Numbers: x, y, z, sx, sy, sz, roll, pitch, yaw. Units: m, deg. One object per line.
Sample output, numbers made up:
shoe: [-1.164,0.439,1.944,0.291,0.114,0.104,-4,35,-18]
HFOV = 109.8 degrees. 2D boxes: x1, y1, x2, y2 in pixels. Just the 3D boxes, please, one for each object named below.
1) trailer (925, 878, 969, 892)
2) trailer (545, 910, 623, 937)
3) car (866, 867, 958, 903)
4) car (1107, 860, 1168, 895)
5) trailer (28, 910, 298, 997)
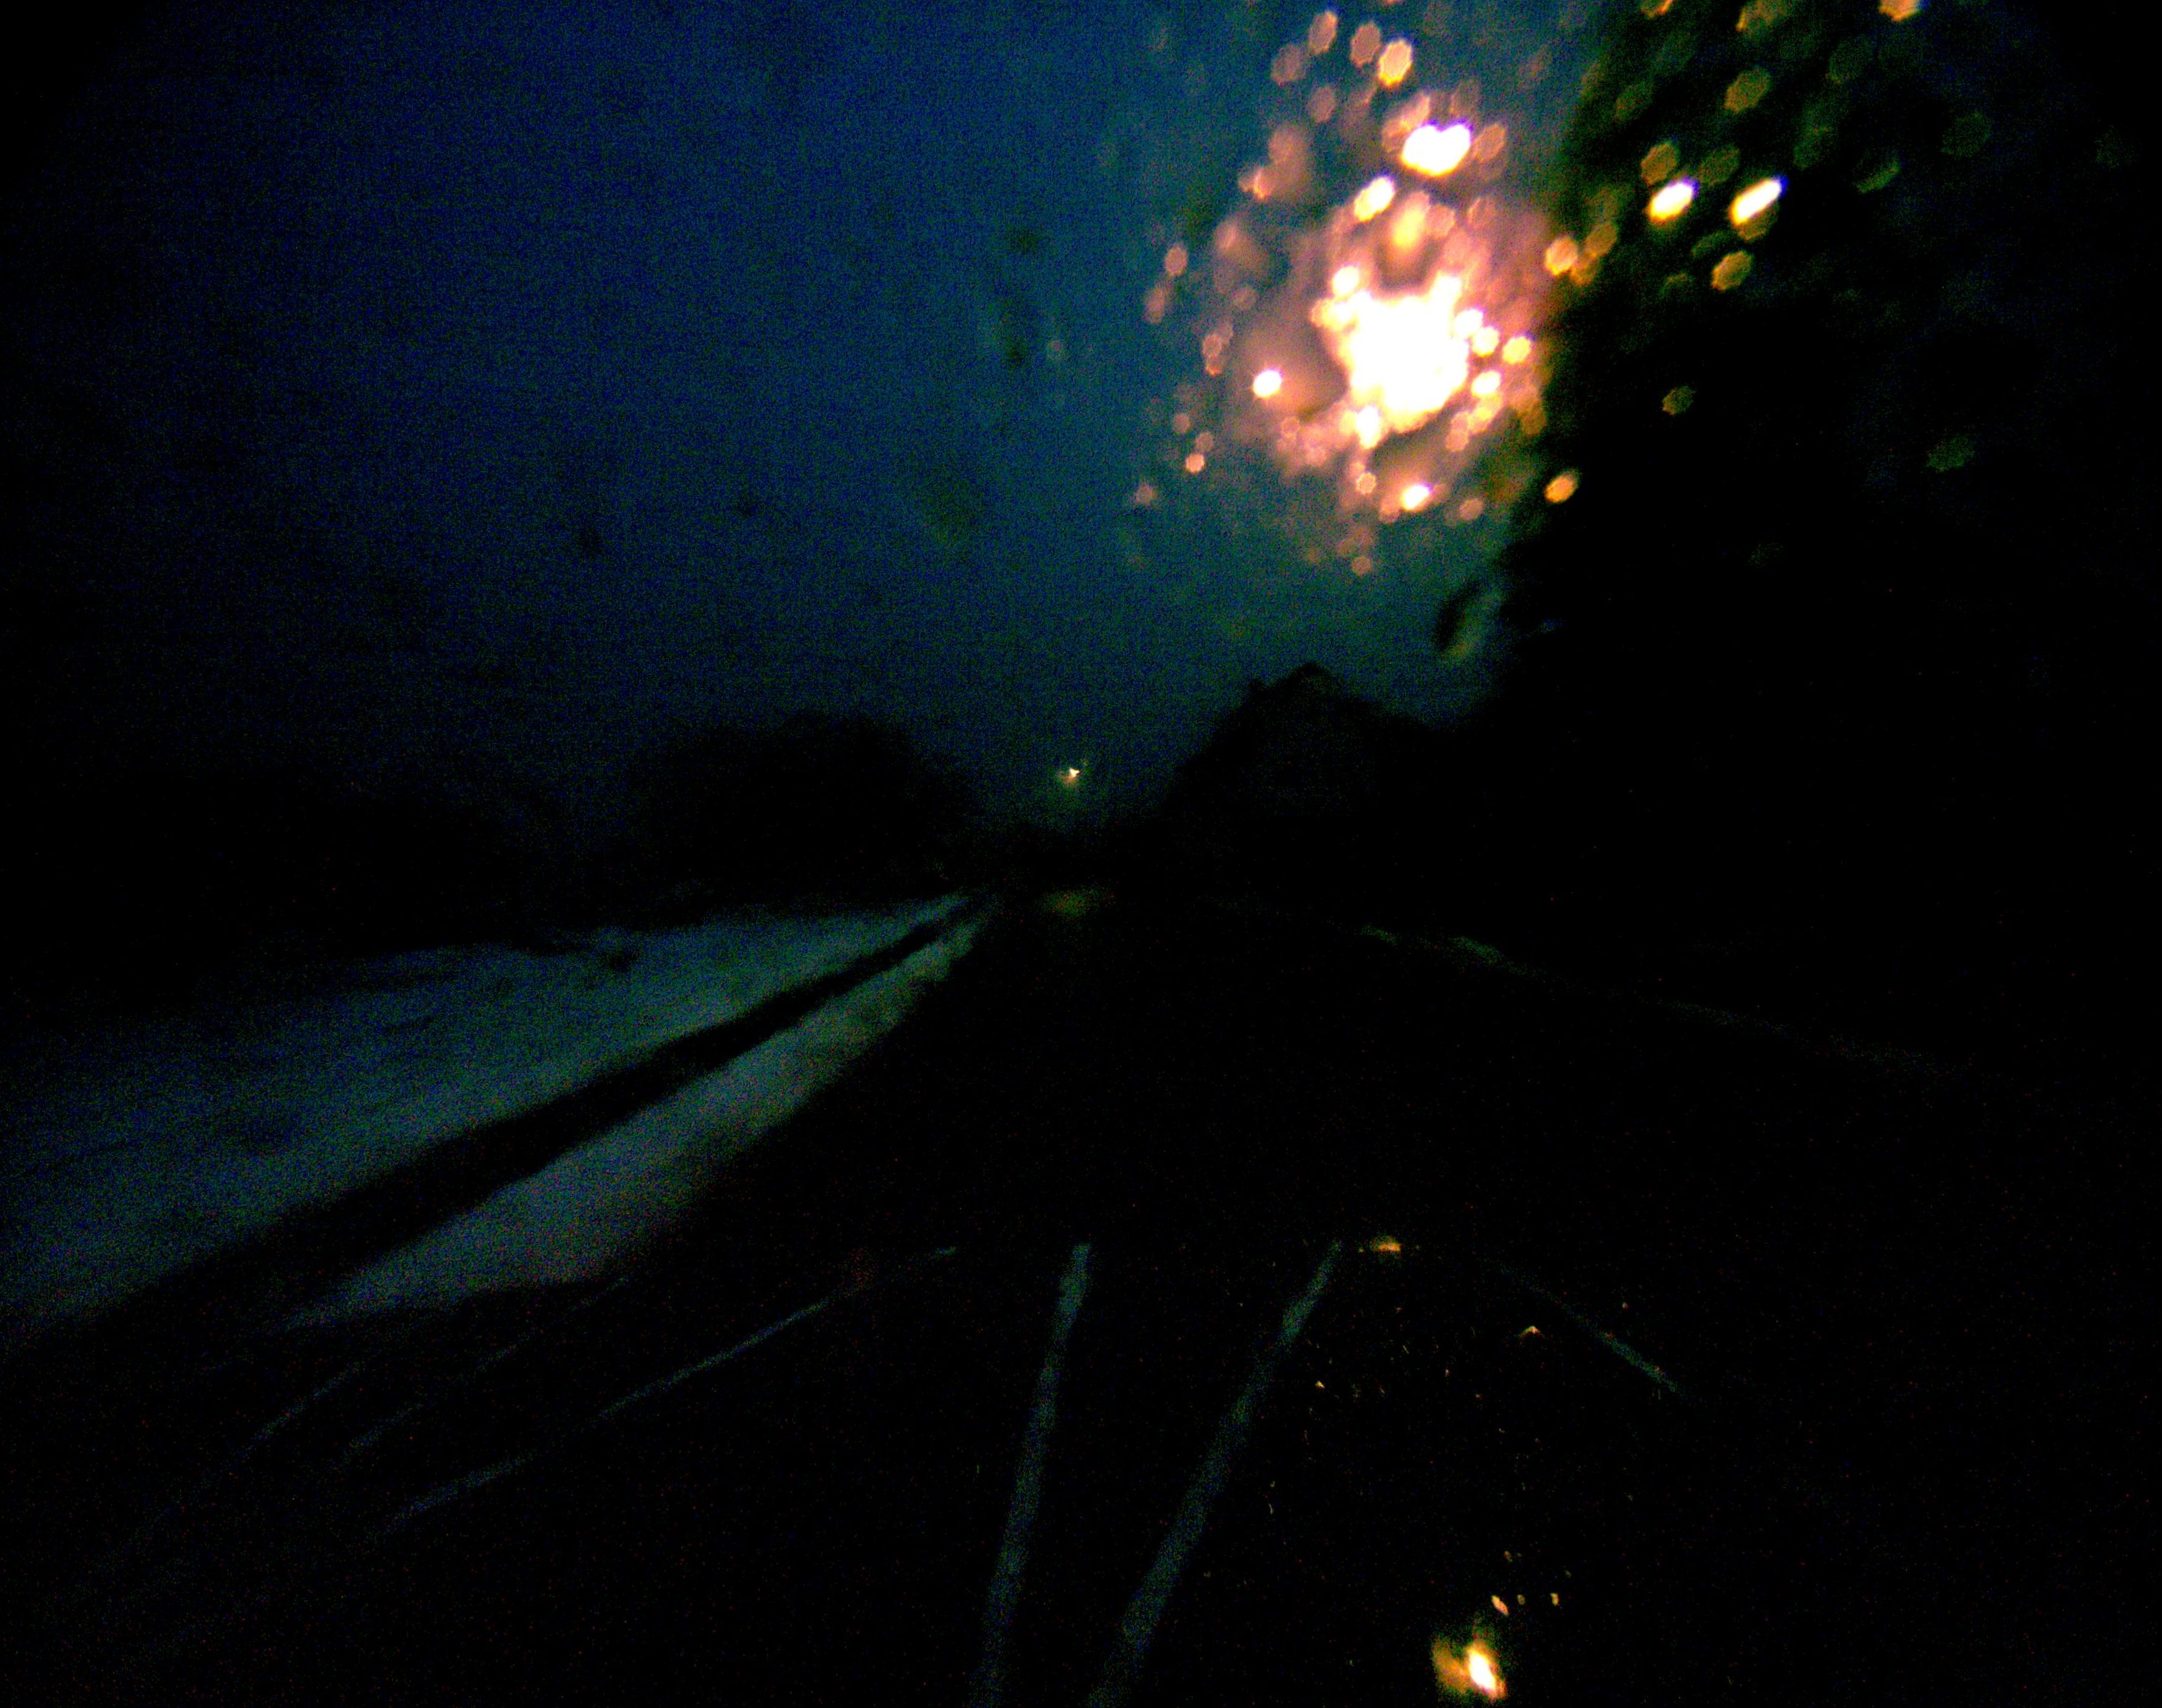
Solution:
trailer: [-9.701,2.224,54.943,1.552,0.940,3.990,0,-2,-36]
trailer: [-22.014,3.041,33.801,1.850,0.940,3.658,-1,-2,-15]
car: [-9.007,1.640,40.867,4.463,1.373,2.035,-7,0,-5]
car: [2.588,1.083,36.009,1.882,1.417,5.390,-3,-1,-6]
trailer: [-27.202,2.892,22.742,4.757,1.931,2.223,-4,-1,-10]
